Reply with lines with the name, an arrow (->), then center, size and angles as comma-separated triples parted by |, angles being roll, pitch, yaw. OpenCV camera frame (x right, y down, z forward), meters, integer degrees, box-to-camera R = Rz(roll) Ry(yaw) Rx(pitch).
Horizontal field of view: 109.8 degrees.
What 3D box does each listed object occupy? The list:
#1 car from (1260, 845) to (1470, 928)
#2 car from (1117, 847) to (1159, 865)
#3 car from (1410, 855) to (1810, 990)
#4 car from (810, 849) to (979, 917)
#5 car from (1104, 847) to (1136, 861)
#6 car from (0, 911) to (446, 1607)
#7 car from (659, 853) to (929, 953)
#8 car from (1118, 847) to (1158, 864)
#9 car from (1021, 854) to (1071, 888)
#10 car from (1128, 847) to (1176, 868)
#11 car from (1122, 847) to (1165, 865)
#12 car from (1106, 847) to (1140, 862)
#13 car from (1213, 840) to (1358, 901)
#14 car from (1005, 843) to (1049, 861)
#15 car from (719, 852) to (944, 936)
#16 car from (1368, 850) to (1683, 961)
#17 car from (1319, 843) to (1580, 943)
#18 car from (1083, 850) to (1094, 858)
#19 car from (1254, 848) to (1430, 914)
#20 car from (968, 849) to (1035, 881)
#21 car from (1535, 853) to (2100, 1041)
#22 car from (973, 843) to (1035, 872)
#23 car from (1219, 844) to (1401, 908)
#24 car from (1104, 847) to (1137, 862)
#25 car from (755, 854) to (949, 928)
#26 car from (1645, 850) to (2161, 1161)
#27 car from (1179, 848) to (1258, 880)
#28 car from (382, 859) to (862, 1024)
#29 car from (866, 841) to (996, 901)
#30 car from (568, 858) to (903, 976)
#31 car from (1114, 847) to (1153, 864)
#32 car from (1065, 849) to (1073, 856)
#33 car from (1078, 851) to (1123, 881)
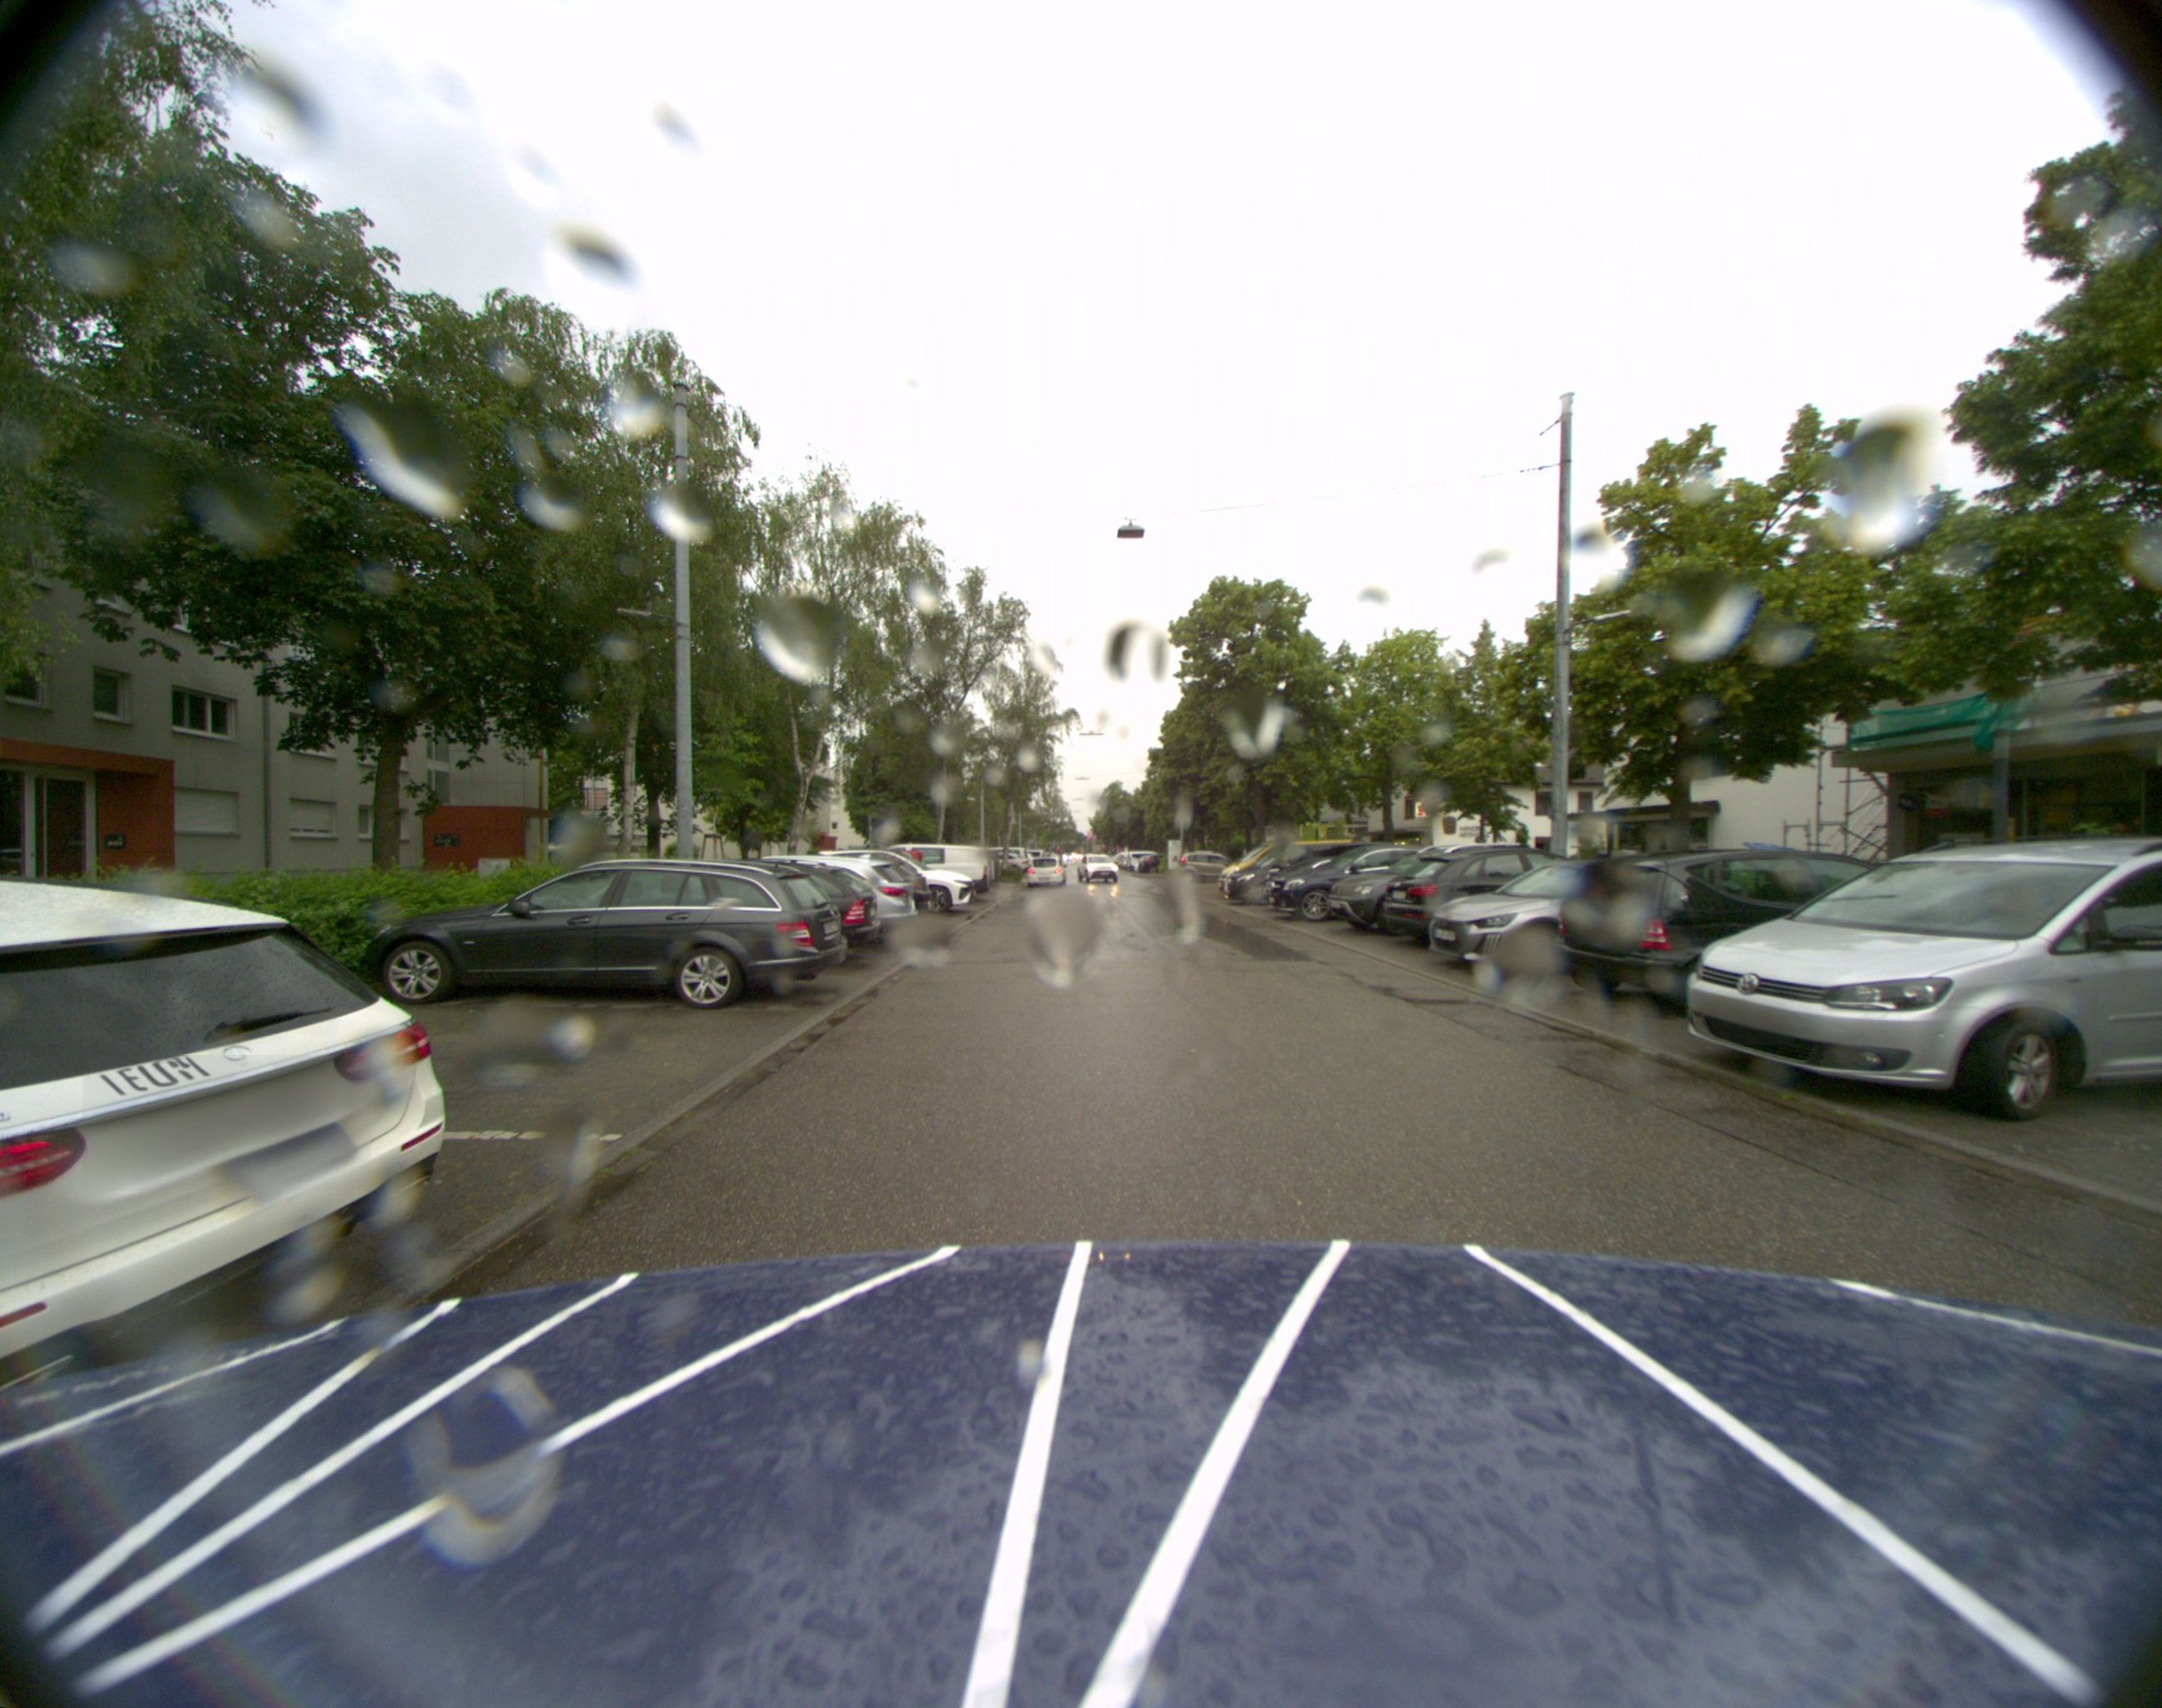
car -> 6.601, 0.717, 17.946 | 4.283, 1.717, 1.715 | -2, 1, -2
car -> 5.840, 0.239, 78.403 | 3.998, 1.675, 1.999 | -2, 1, -3
car -> 6.989, 0.845, 10.317 | 4.283, 1.523, 1.715 | -2, 1, -2
car -> -5.048, 0.753, 20.903 | 4.179, 1.609, 1.680 | 2, 1, 1
car -> 5.203, -0.048, 101.613 | 3.998, 1.675, 1.999 | -2, 1, -3
car -> -4.755, 0.919, 2.064 | 4.623, 1.431, 1.680 | 2, 1, 0
car -> -4.861, 0.815, 13.298 | 4.049, 1.488, 1.680 | 2, 1, -3
car -> 6.029, 0.145, 81.086 | 3.998, 1.675, 1.999 | -2, 1, -3
car -> -1.651, 0.787, 37.734 | 1.998, 1.446, 4.258 | -2, 1, 3
car -> 6.386, 0.291, 68.819 | 3.998, 1.675, 1.999 | -2, 1, -3
car -> 6.186, 0.205, 75.972 | 3.998, 1.675, 1.999 | -2, 1, -3
car -> 5.217, 0.051, 94.417 | 3.998, 1.675, 1.999 | -2, 1, -3
car -> 7.181, 0.566, 26.931 | 4.657, 1.947, 1.715 | -2, 1, -2
car -> -5.287, -0.206, 75.032 | 3.995, 1.670, 1.902 | -2, 1, 4
car -> -5.001, 0.790, 15.638 | 4.049, 1.488, 1.680 | 2, 1, -3
car -> 7.263, 0.792, 12.676 | 4.283, 1.586, 1.715 | -2, 1, -2
car -> 7.084, 0.707, 14.864 | 4.283, 1.717, 1.715 | -2, 1, -2
car -> 1.536, -0.059, 158.695 | 1.999, 1.617, 3.999 | -2, 1, -1
car -> 7.156, 0.721, 21.080 | 4.283, 1.617, 1.715 | -2, 1, -2
car -> -5.114, 0.682, 49.278 | 3.995, 1.902, 1.902 | -2, 1, 4
car -> 7.254, 0.840, 7.762 | 4.283, 1.556, 1.635 | -2, 1, -2
car -> -5.464, 0.250, 54.122 | 3.995, 1.902, 1.902 | -2, 1, 4
car -> 7.112, 0.643, 23.861 | 5.177, 1.789, 1.715 | -2, 1, -2
car -> 5.026, 0.025, 96.939 | 3.998, 1.675, 1.999 | -2, 1, -3
car -> -5.274, 0.837, 17.880 | 4.049, 1.488, 1.680 | 2, 1, -3
car -> 6.619, 0.848, 5.208 | 4.283, 1.625, 1.715 | -2, 1, -2
car -> 7.541, 0.543, 41.633 | 3.992, 1.677, 1.843 | -1, 1, 18
car -> -4.613, 0.857, 8.120 | 4.049, 1.431, 1.680 | 2, 1, -3
car -> -5.084, 0.572, 26.189 | 4.182, 1.856, 1.679 | 2, 1, -6
car -> -4.820, 0.855, 11.047 | 4.049, 1.431, 1.680 | 2, 1, -3
car -> 5.785, 0.168, 83.754 | 3.998, 1.675, 1.999 | -2, 1, -3
car -> -3.006, -0.398, 193.185 | 1.998, 1.804, 3.999 | -2, 1, 1
car -> 1.044, 0.615, 42.286 | 1.735, 1.519, 4.135 | -1, 1, -9
